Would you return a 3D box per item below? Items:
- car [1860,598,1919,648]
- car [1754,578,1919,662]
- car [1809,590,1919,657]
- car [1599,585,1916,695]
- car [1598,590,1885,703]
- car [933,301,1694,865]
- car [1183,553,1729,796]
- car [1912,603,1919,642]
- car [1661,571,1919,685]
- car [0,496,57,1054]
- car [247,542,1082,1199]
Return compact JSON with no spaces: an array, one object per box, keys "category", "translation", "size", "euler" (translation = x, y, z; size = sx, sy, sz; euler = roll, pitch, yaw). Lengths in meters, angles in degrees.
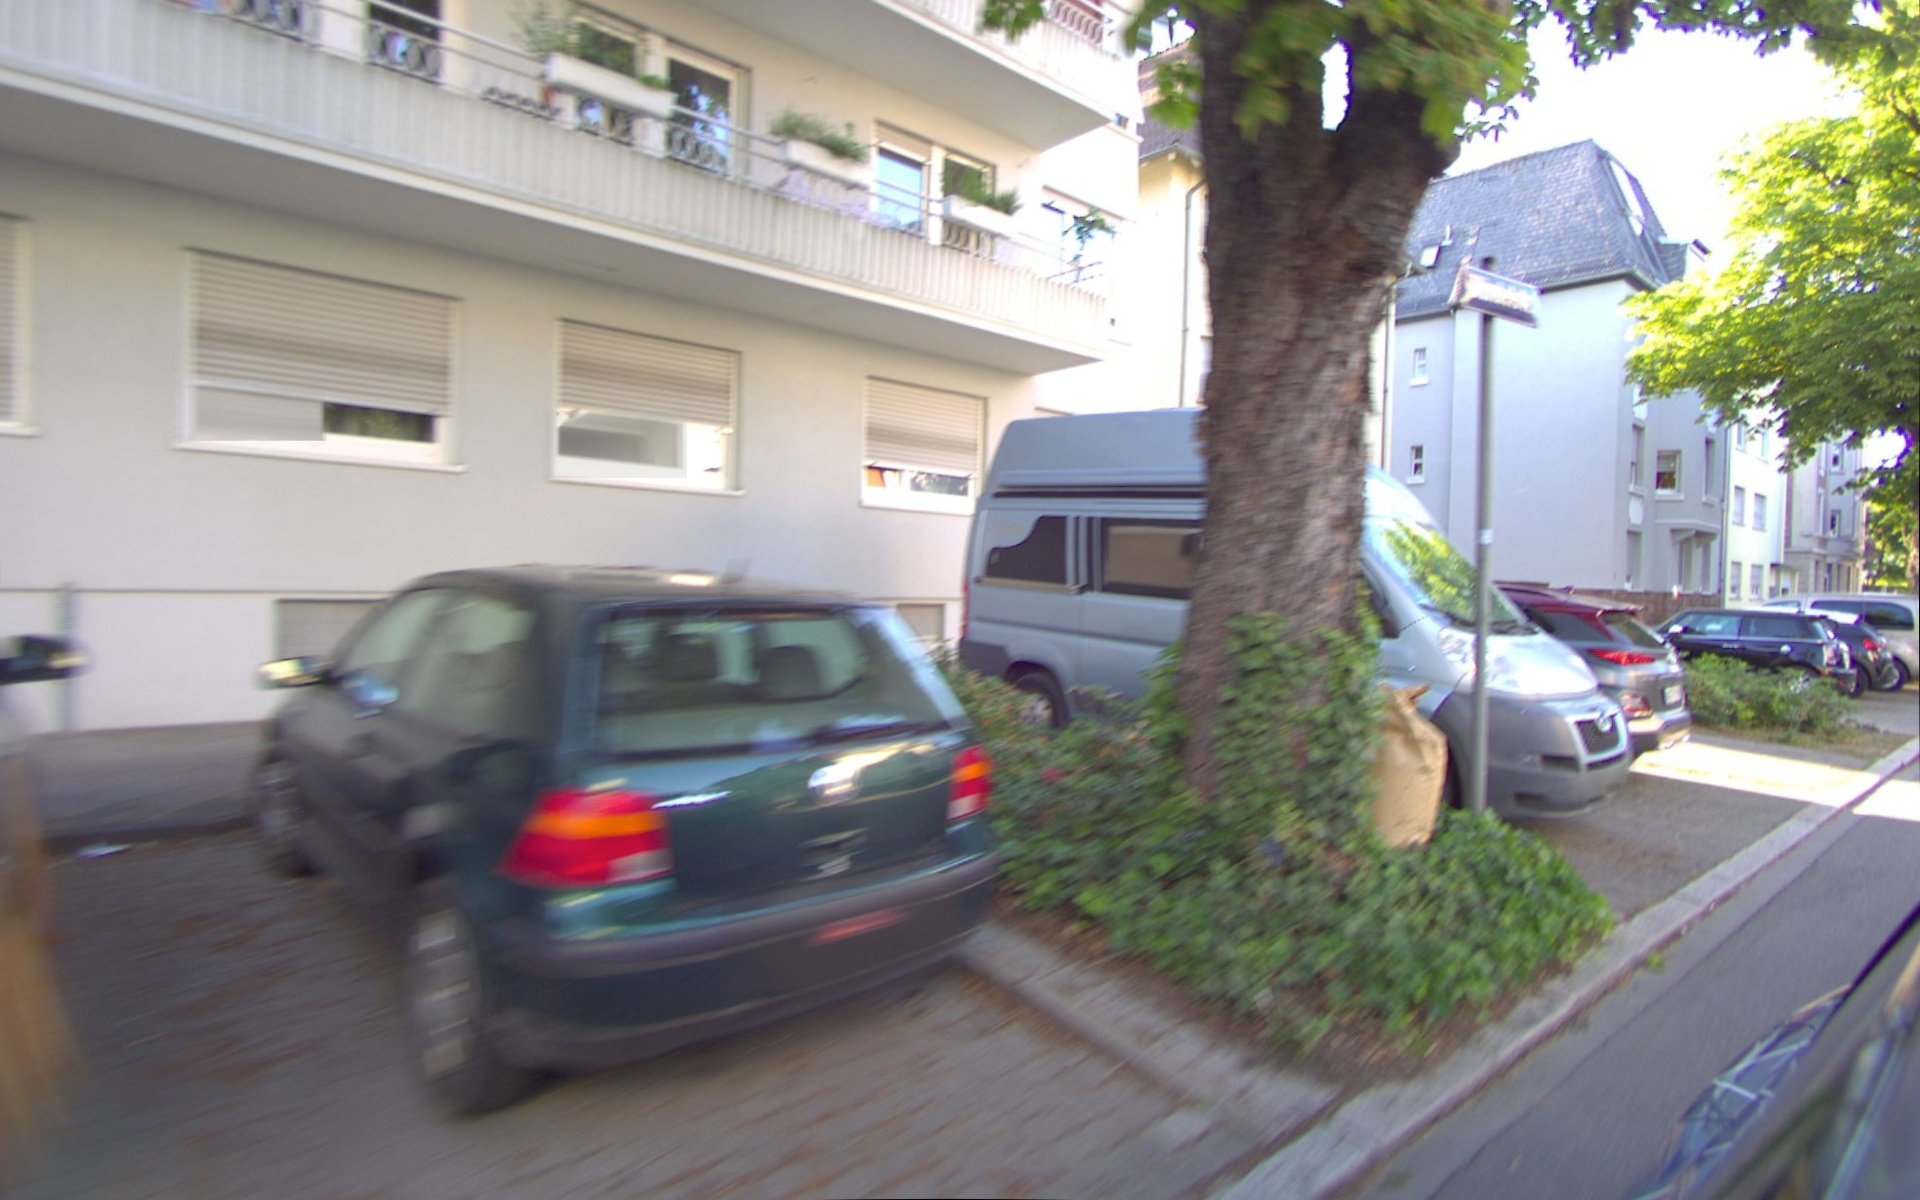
[{"category":"car","translation":[31.796,0.827,32.786],"size":[1.646,1.515,3.680],"euler":[2,2,-40]},{"category":"car","translation":[24.259,0.537,26.729],"size":[1.915,1.960,4.820],"euler":[2,2,-39]},{"category":"car","translation":[26.955,0.723,28.561],"size":[1.758,1.725,4.212],"euler":[2,2,-36]},{"category":"car","translation":[14.483,0.641,18.574],"size":[1.729,1.560,4.307],"euler":[2,2,-43]},{"category":"car","translation":[12.815,0.685,16.740],"size":[1.727,1.444,3.411],"euler":[2,3,-40]},{"category":"car","translation":[2.270,-0.225,7.861],"size":[2.040,2.937,5.106],"euler":[2,2,-41]},{"category":"car","translation":[4.385,0.486,9.514],"size":[1.728,1.587,4.198],"euler":[2,3,-42]},{"category":"car","translation":[37.608,0.965,37.147],"size":[1.573,1.460,3.680],"euler":[2,2,-40]},{"category":"car","translation":[16.760,0.481,20.138],"size":[1.729,1.907,4.307],"euler":[0,3,-43]},{"category":"car","translation":[-3.349,0.490,2.385],"size":[1.610,1.573,3.730],"euler":[1,3,-39]},{"category":"car","translation":[-1.509,0.543,3.980],"size":[1.728,1.448,3.728],"euler":[0,3,-41]}]
